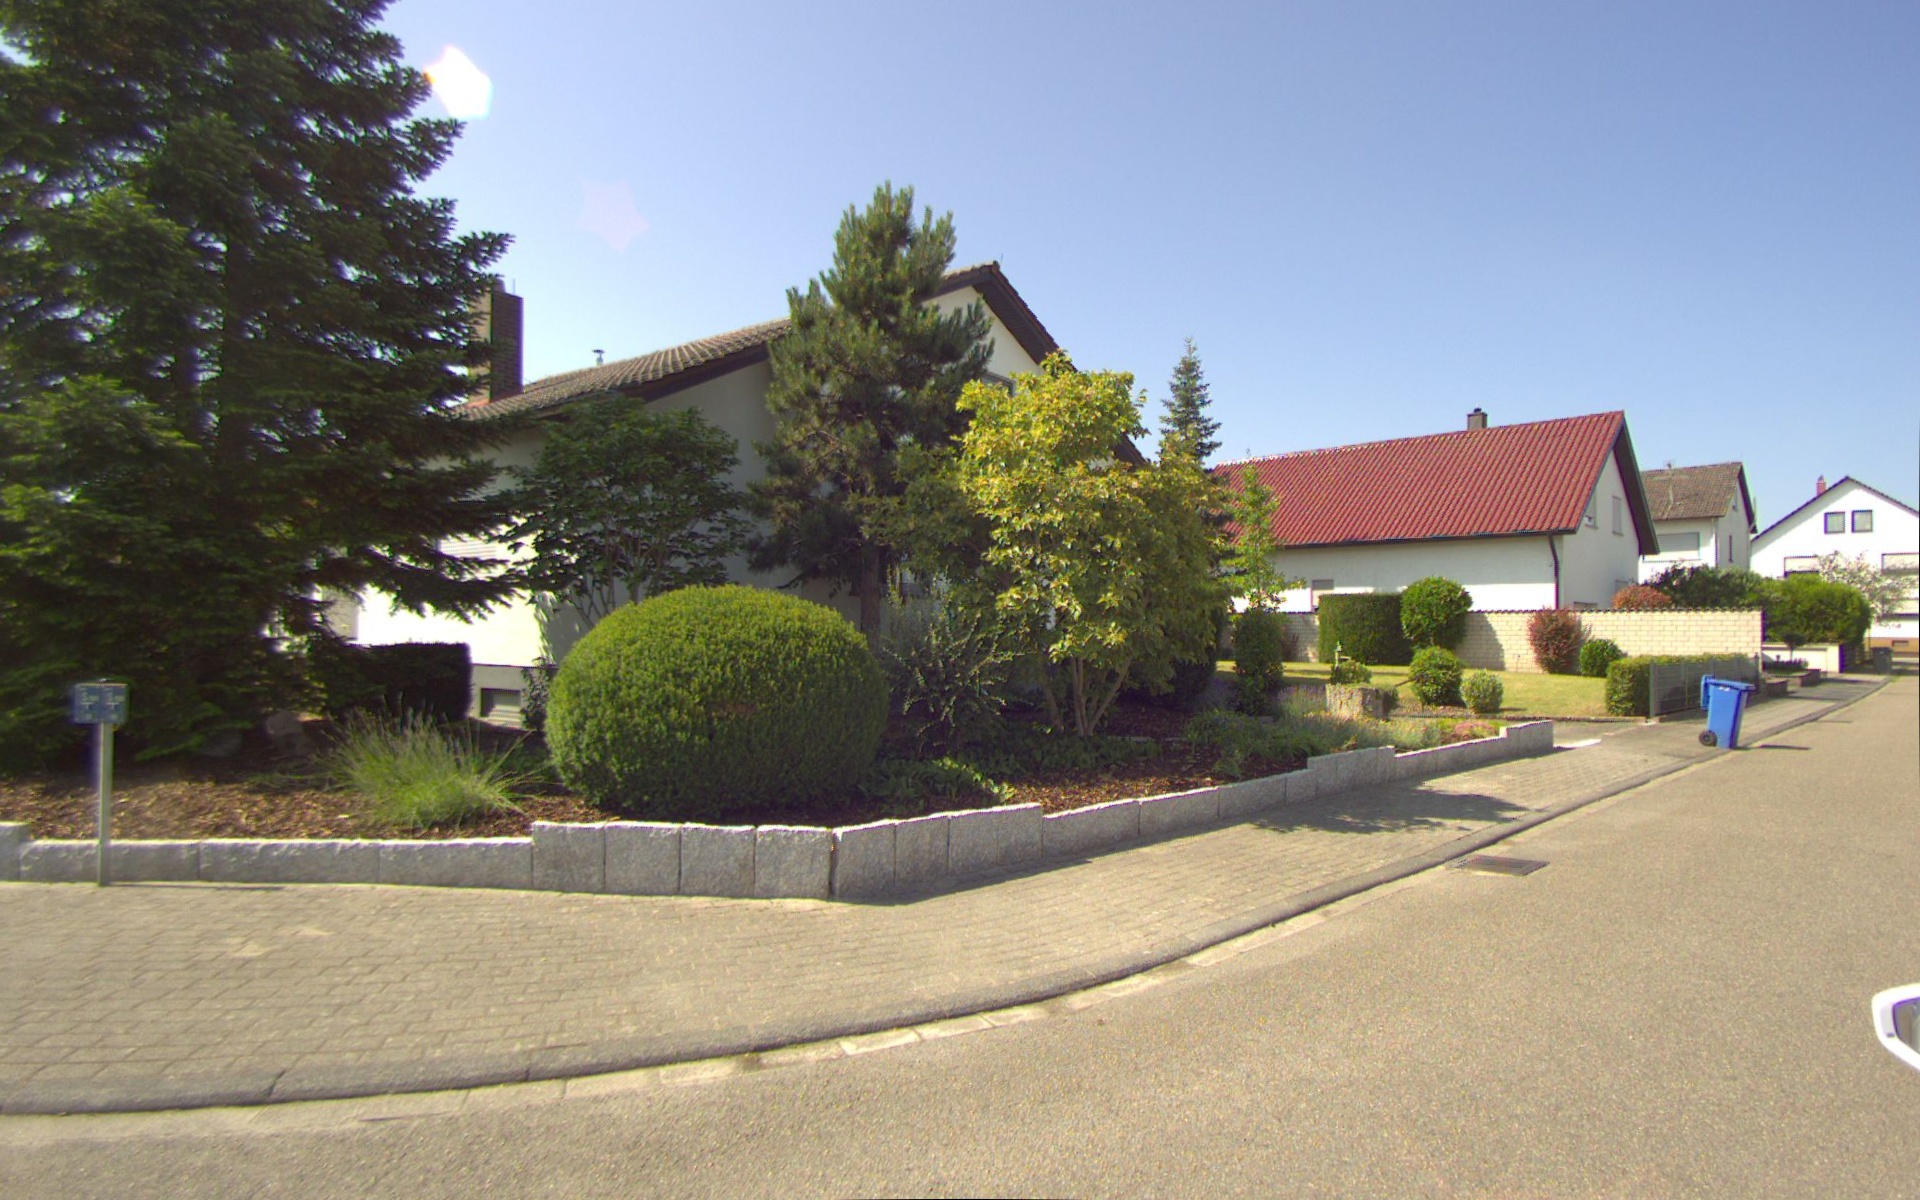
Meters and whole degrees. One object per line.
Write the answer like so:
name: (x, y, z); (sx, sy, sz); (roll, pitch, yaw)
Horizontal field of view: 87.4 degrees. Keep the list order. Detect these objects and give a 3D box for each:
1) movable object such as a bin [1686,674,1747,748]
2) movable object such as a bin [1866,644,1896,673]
movable object such as a bin: (10.378, 1.507, 13.780); (0.594, 0.928, 0.577); (2, -1, -44)
movable object such as a bin: (35.557, 2.239, 38.781); (0.607, 1.077, 0.810); (1, -2, -45)
